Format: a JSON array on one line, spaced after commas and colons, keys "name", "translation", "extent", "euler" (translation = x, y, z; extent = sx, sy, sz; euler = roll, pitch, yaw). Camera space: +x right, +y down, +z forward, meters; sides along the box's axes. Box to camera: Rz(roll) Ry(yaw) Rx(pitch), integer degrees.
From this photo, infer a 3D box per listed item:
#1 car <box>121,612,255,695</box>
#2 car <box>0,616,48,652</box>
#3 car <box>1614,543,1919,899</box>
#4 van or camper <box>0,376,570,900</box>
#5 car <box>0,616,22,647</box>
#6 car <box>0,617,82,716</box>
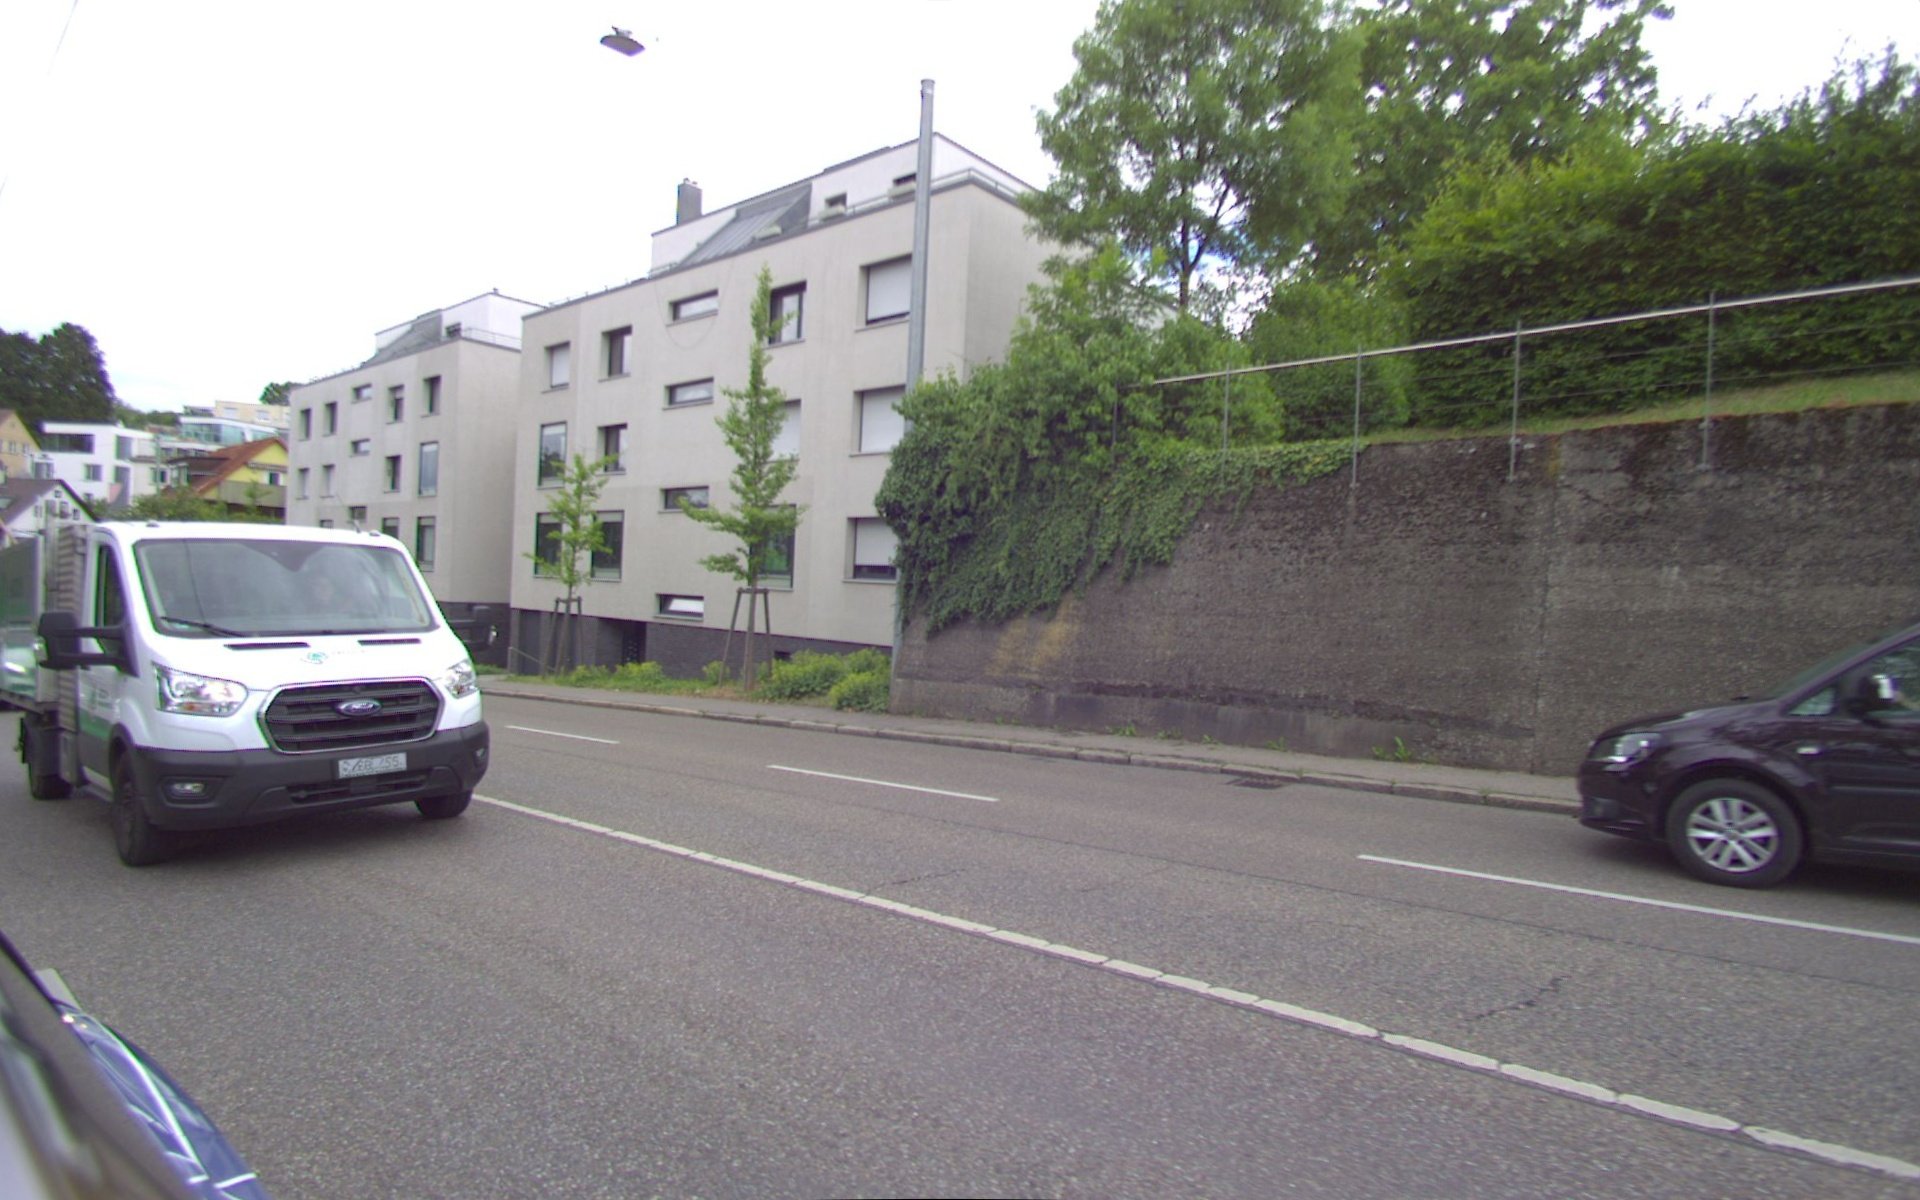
[{"name": "car", "translation": [-17.699, 1.173, 23.156], "extent": [3.866, 1.725, 1.687], "euler": [-1, -2, 41]}, {"name": "car", "translation": [-51.159, 1.842, 55.161], "extent": [3.741, 1.899, 1.720], "euler": [-1, -2, 41]}, {"name": "car", "translation": [6.167, 0.663, 5.488], "extent": [4.206, 1.856, 1.812], "euler": [-1, -3, 41]}, {"name": "van or camper", "translation": [-5.716, 0.292, 8.007], "extent": [5.960, 2.682, 2.319], "euler": [-3, -2, 40]}, {"name": "car", "translation": [-60.277, 1.957, 63.439], "extent": [3.741, 1.899, 1.720], "euler": [-1, -2, 41]}, {"name": "car", "translation": [-16.575, 1.072, 17.261], "extent": [4.333, 1.541, 1.854], "euler": [-1, -1, 41]}]
